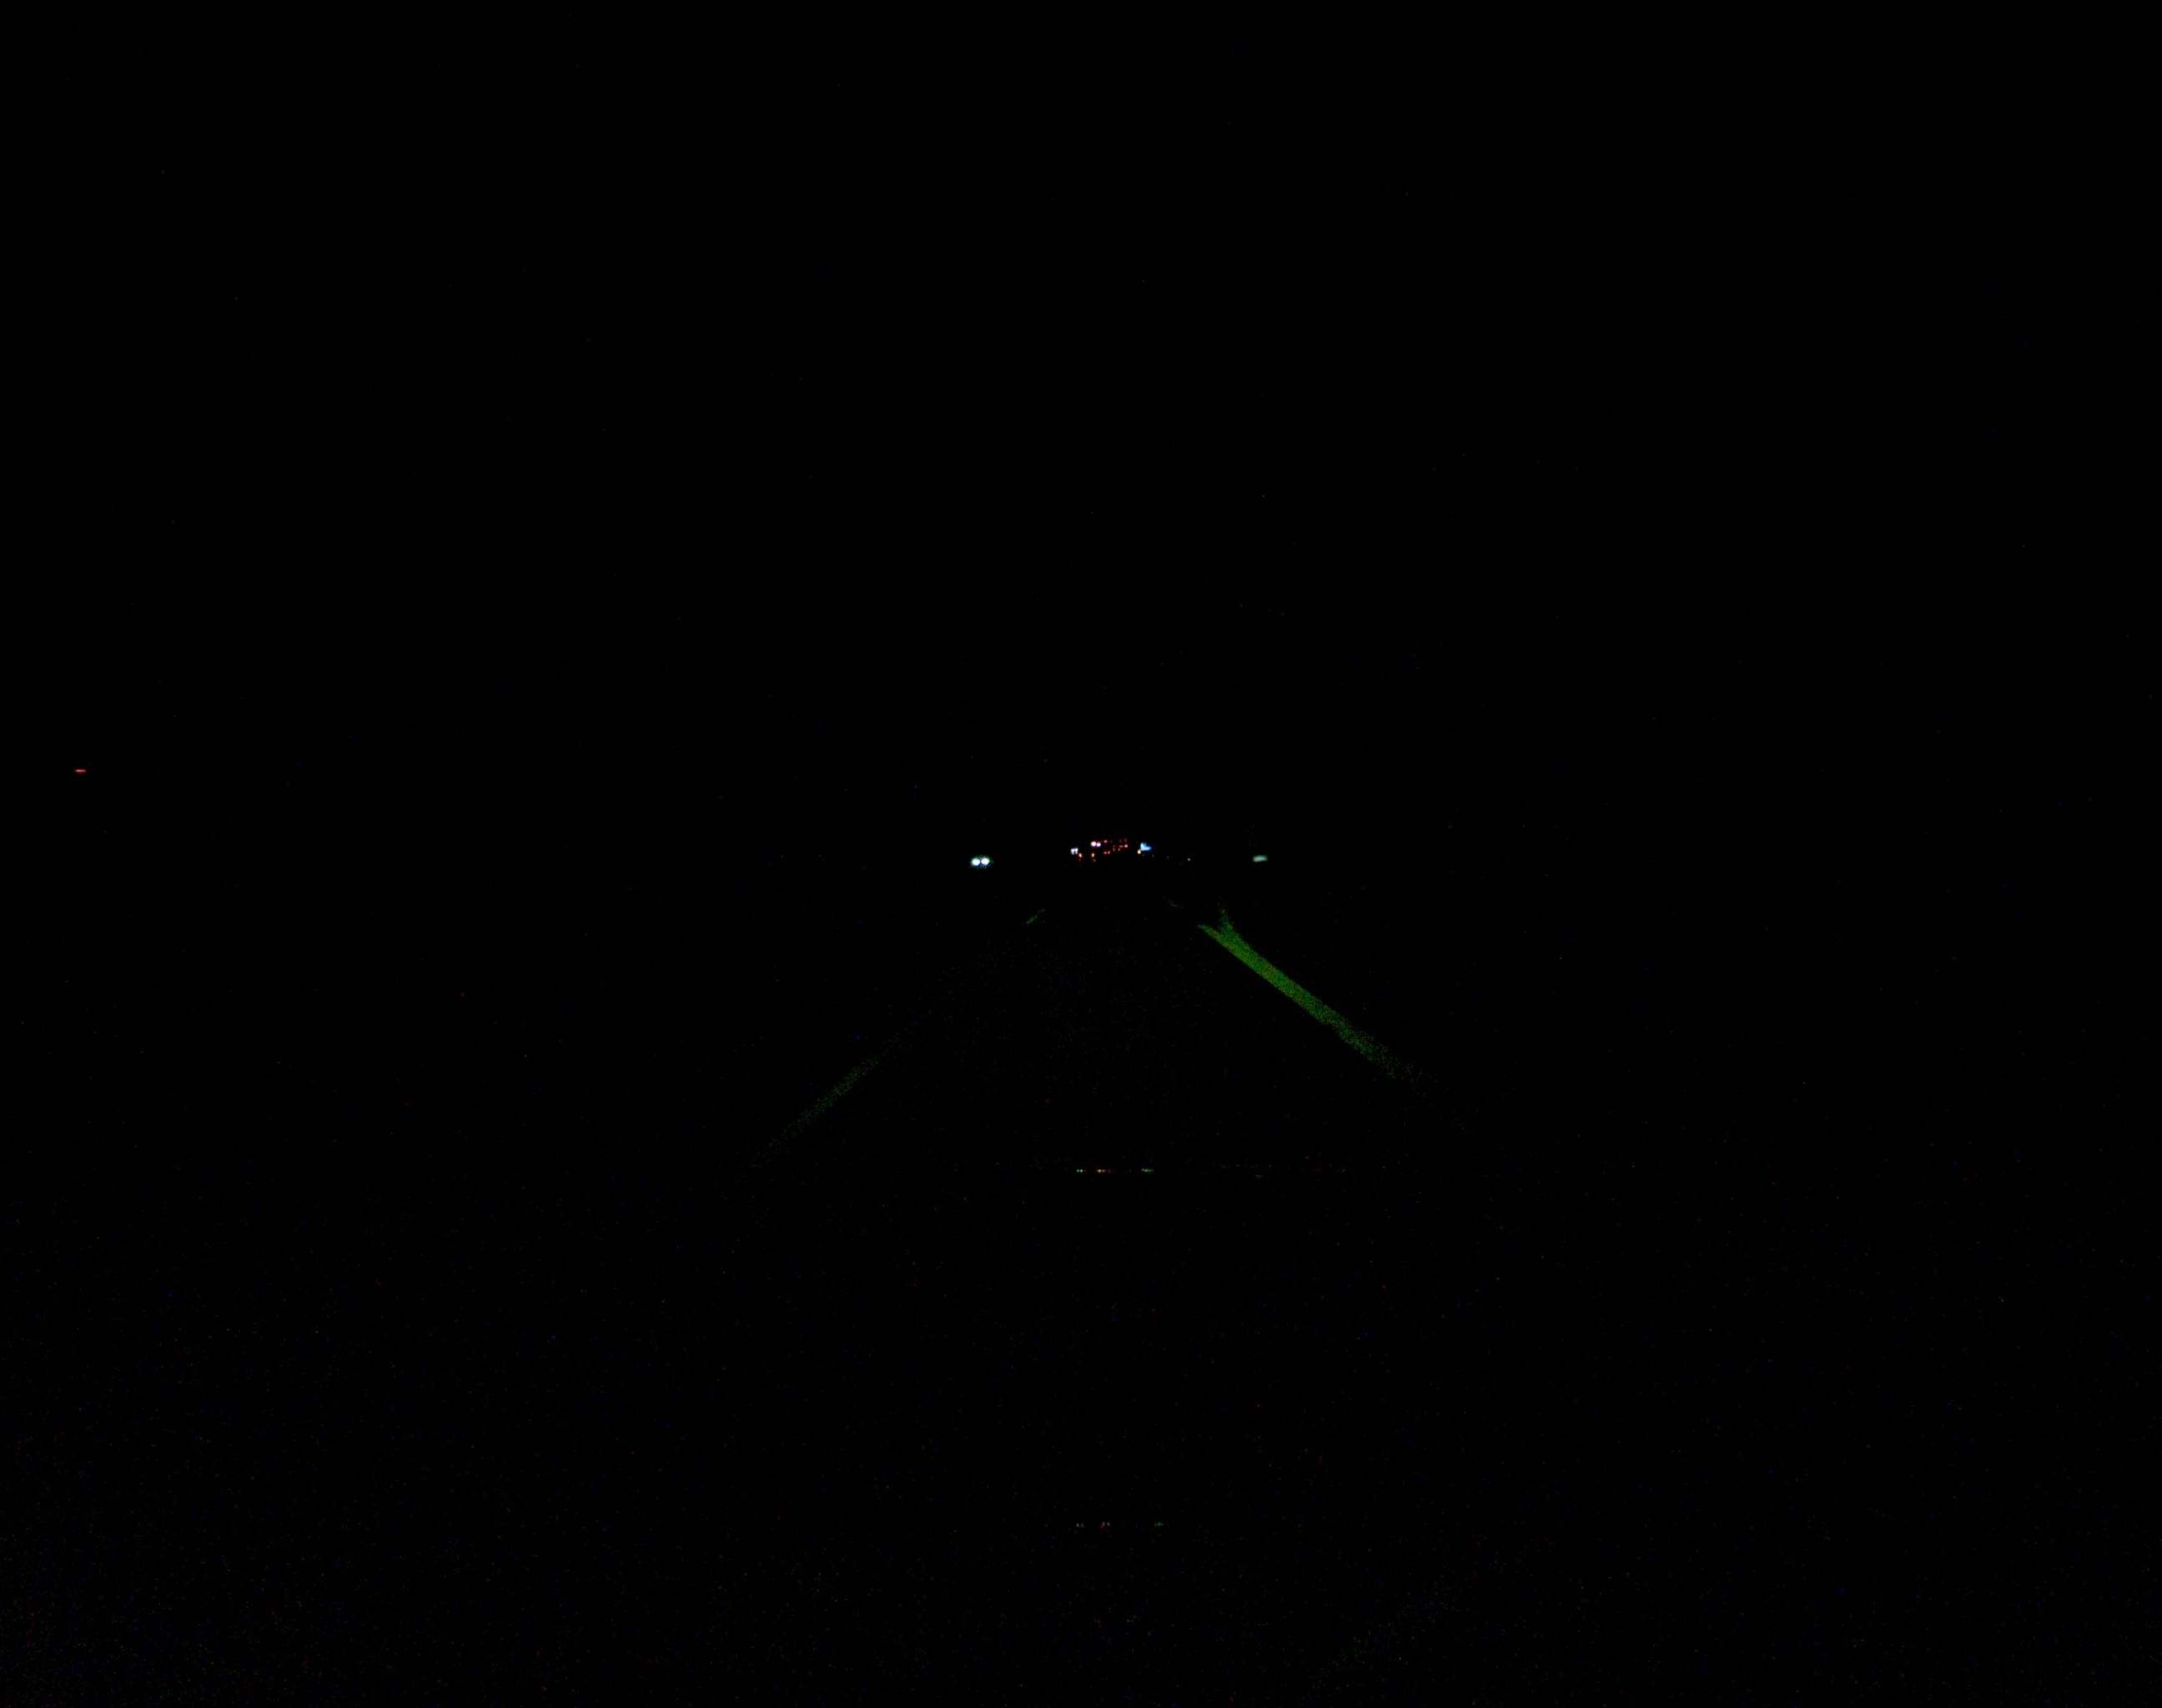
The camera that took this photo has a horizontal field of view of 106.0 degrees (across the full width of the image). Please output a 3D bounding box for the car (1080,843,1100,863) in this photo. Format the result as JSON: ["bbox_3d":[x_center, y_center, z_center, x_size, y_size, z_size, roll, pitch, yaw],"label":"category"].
[{"bbox_3d":[1.213,-0.045,117.809,2.778,2.733,6.297,-1,-1,0],"label":"car"}]

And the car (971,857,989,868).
[{"bbox_3d":[-16.616,1.388,134.337,1.985,1.745,5.075,0,0,3],"label":"car"}]

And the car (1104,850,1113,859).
[{"bbox_3d":[8.645,0.285,259.004,2.776,2.733,6.301,-1,-1,2],"label":"car"}]
